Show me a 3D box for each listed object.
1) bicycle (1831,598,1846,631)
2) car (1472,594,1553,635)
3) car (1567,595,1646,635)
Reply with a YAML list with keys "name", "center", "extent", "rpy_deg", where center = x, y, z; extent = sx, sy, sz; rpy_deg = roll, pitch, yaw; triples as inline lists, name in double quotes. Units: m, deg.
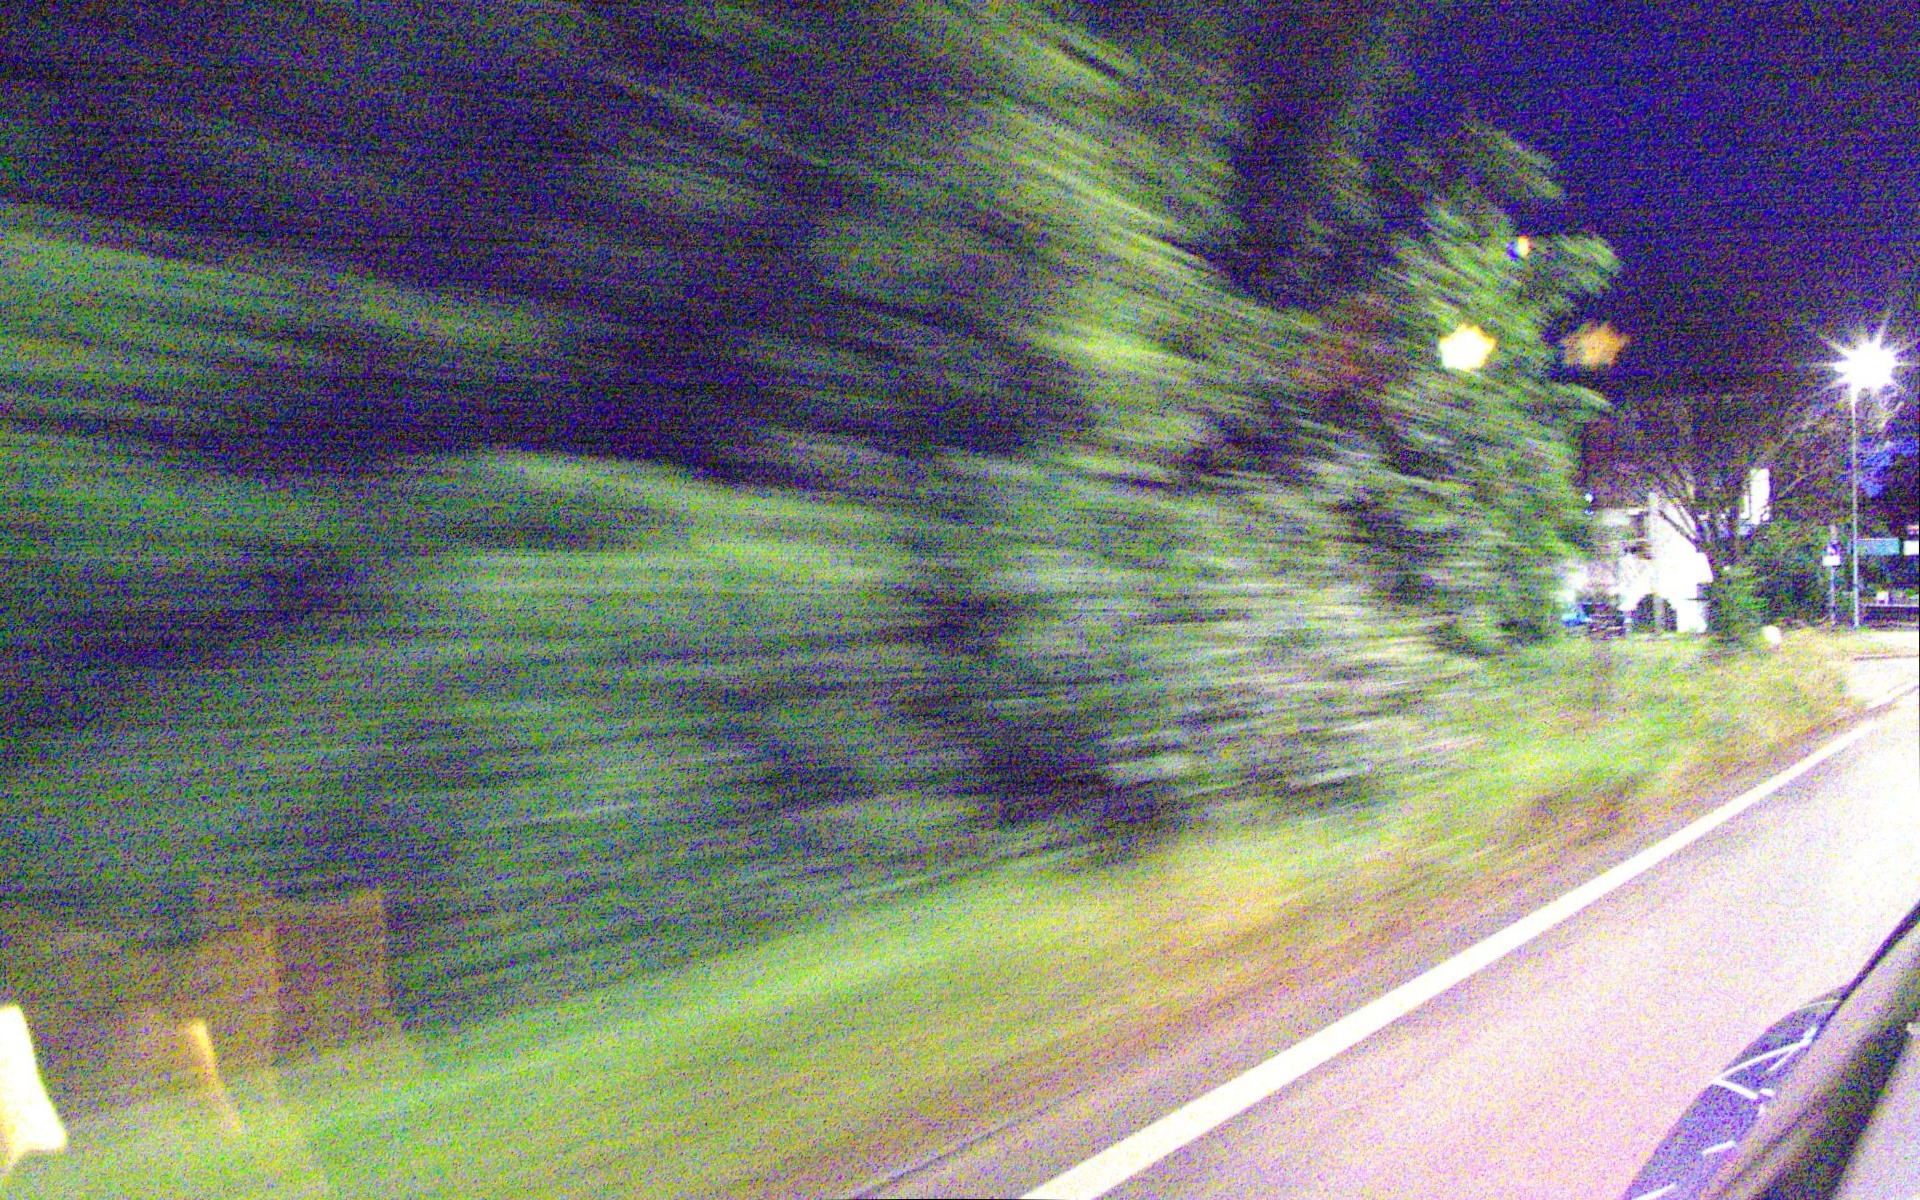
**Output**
- name: "bicycle"
  center: [29.988, 0.476, 34.535]
  extent: [0.294, 0.994, 1.918]
  rpy_deg: [-2, 2, 39]
- name: "car"
  center: [22.780, 0.587, 41.883]
  extent: [1.895, 1.585, 4.390]
  rpy_deg: [-2, -1, 15]
- name: "car"
  center: [26.543, 0.598, 41.667]
  extent: [1.684, 1.524, 3.575]
  rpy_deg: [-2, -1, 16]
